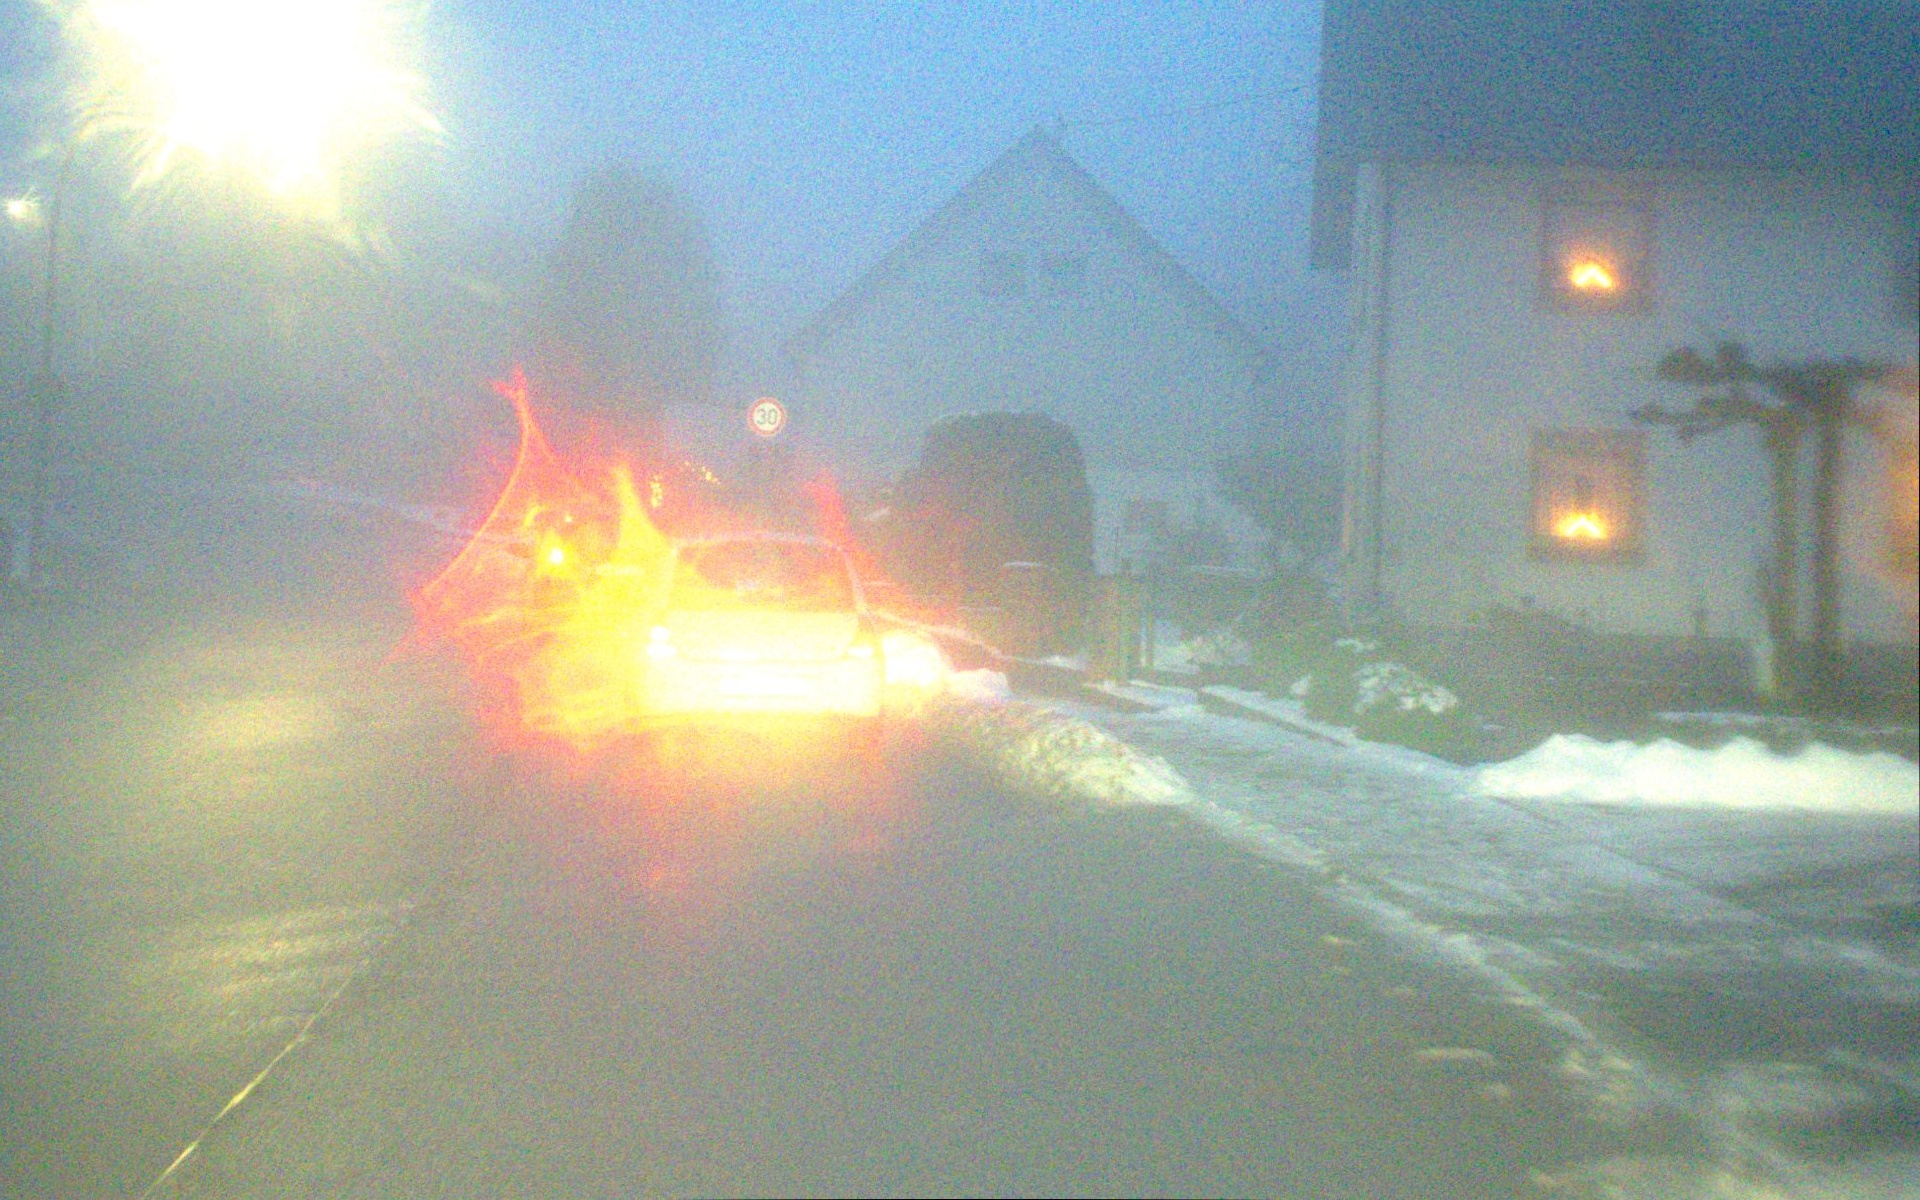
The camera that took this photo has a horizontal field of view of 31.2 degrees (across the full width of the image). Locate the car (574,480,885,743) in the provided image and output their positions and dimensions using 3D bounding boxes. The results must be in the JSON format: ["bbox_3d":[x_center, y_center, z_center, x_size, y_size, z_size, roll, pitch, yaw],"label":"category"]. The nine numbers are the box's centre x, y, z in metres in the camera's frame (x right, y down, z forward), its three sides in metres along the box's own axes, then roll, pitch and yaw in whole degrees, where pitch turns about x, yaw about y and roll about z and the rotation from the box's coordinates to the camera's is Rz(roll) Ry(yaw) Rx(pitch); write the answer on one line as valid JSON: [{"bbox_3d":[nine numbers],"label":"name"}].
[{"bbox_3d":[-1.540,0.052,23.161,1.897,1.604,4.001,0,1,-4],"label":"car"}]

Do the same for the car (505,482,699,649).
[{"bbox_3d":[-3.981,-0.378,37.732,1.993,1.731,3.879,0,1,-8],"label":"car"}]
